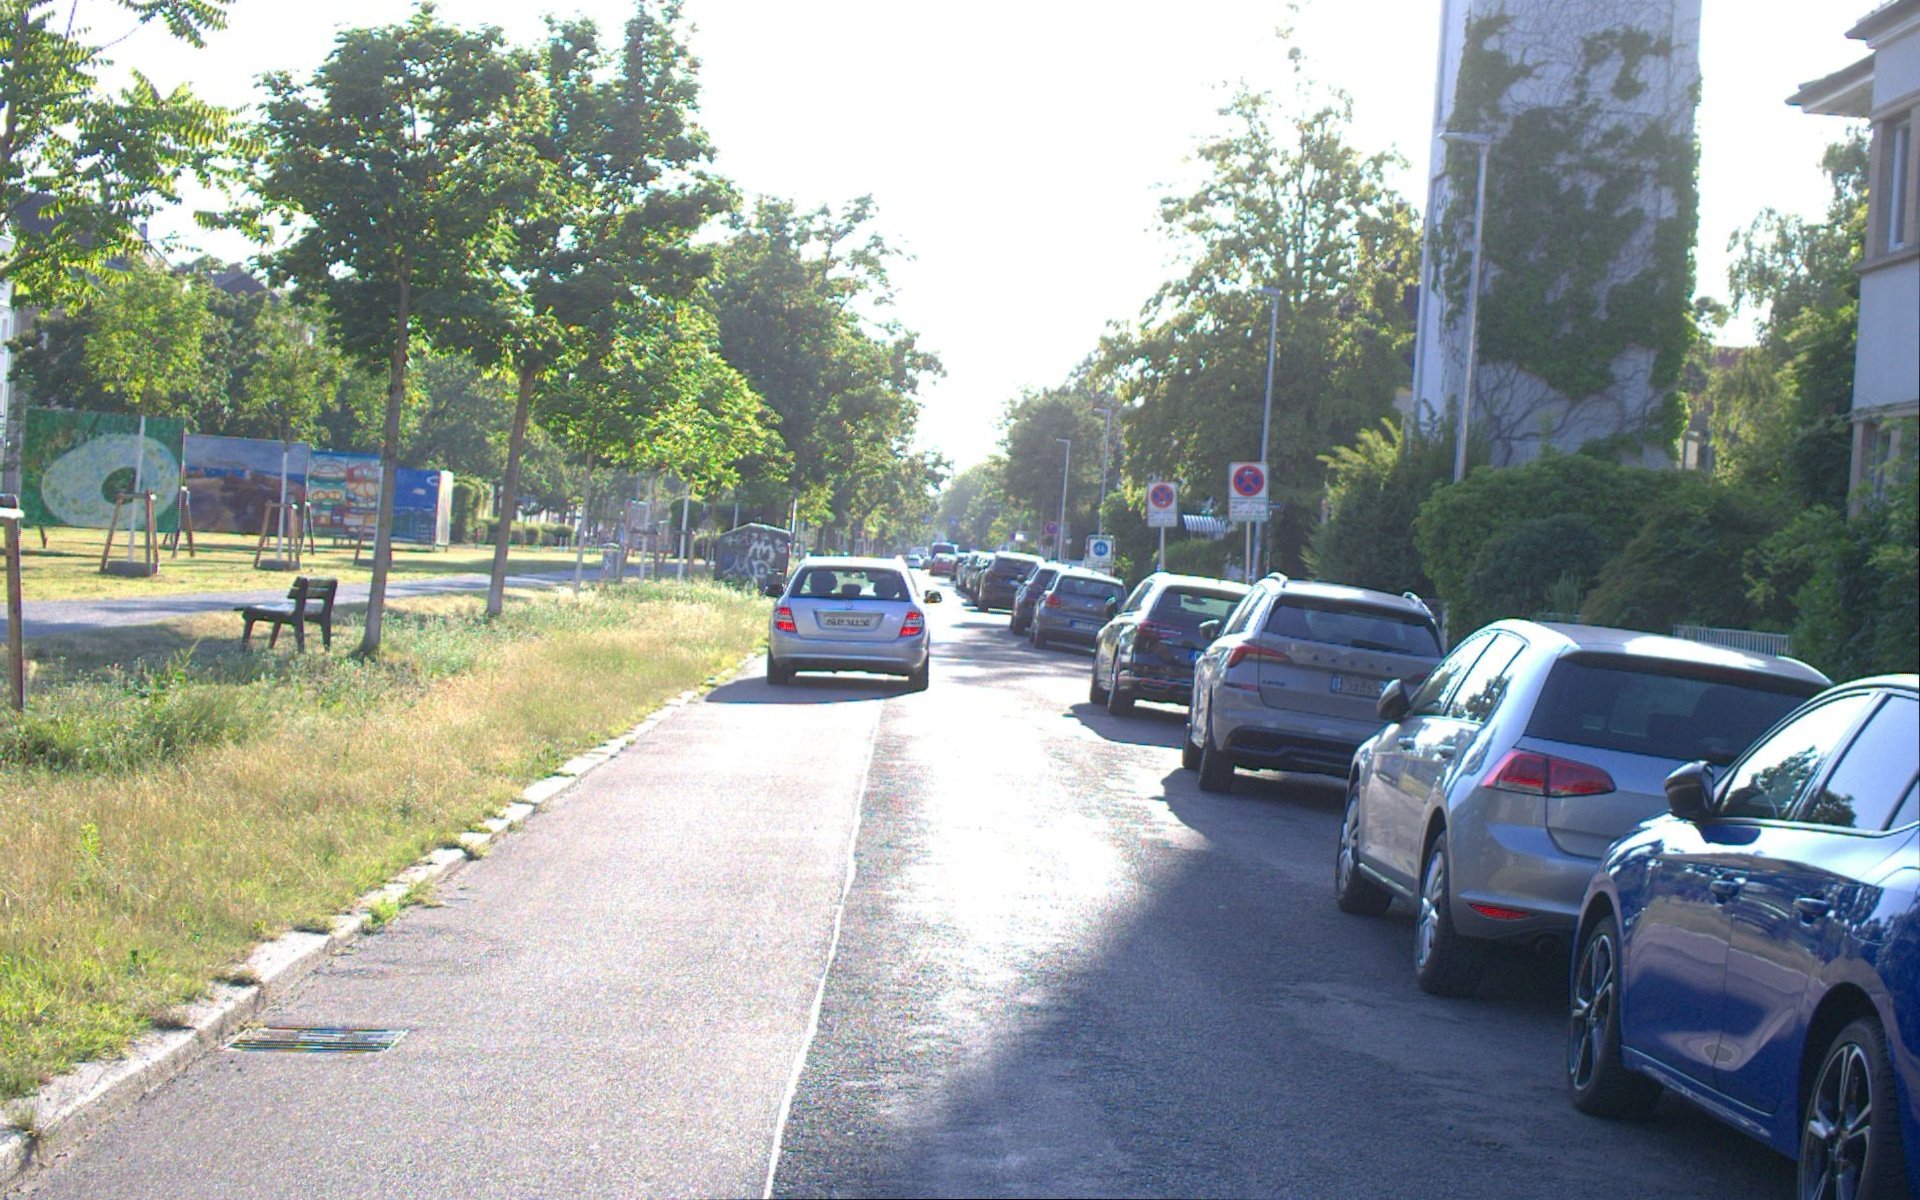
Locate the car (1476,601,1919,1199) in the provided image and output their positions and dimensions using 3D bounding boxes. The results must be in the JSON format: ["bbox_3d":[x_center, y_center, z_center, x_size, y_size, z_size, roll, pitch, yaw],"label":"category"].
[{"bbox_3d":[2.780,0.876,9.172,1.763,1.430,4.304,11,0,-2],"label":"car"}]

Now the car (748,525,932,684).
[{"bbox_3d":[-1.279,0.012,38.251,1.823,1.561,4.000,4,1,0],"label":"car"}]

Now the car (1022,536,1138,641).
[{"bbox_3d":[2.096,-0.234,61.161,1.687,1.522,4.175,9,1,-1],"label":"car"}]

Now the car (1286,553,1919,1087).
[{"bbox_3d":[2.668,0.759,14.459,1.911,1.554,4.567,9,2,-1],"label":"car"}]

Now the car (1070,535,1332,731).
[{"bbox_3d":[2.404,0.318,35.532,1.993,1.592,4.886,9,0,-2],"label":"car"}]

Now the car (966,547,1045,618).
[{"bbox_3d":[1.252,-0.487,96.520,1.832,1.726,5.032,7,0,-1],"label":"car"}]

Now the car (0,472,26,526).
[{"bbox_3d":[-36.148,-3.758,127.472,1.889,1.910,4.327,1,0,-1],"label":"car"}]

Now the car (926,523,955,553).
[{"bbox_3d":[-1.443,-4.539,252.968,1.988,2.016,4.000,5,0,0],"label":"car"}]

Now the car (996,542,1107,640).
[{"bbox_3d":[1.768,-0.215,68.106,1.822,1.555,4.622,11,1,0],"label":"car"}]

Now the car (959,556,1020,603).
[{"bbox_3d":[1.068,-0.768,124.262,1.994,1.457,4.561,6,1,1],"label":"car"}]

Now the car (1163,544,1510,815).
[{"bbox_3d":[2.602,0.536,24.812,1.884,1.531,4.461,8,0,1],"label":"car"}]
